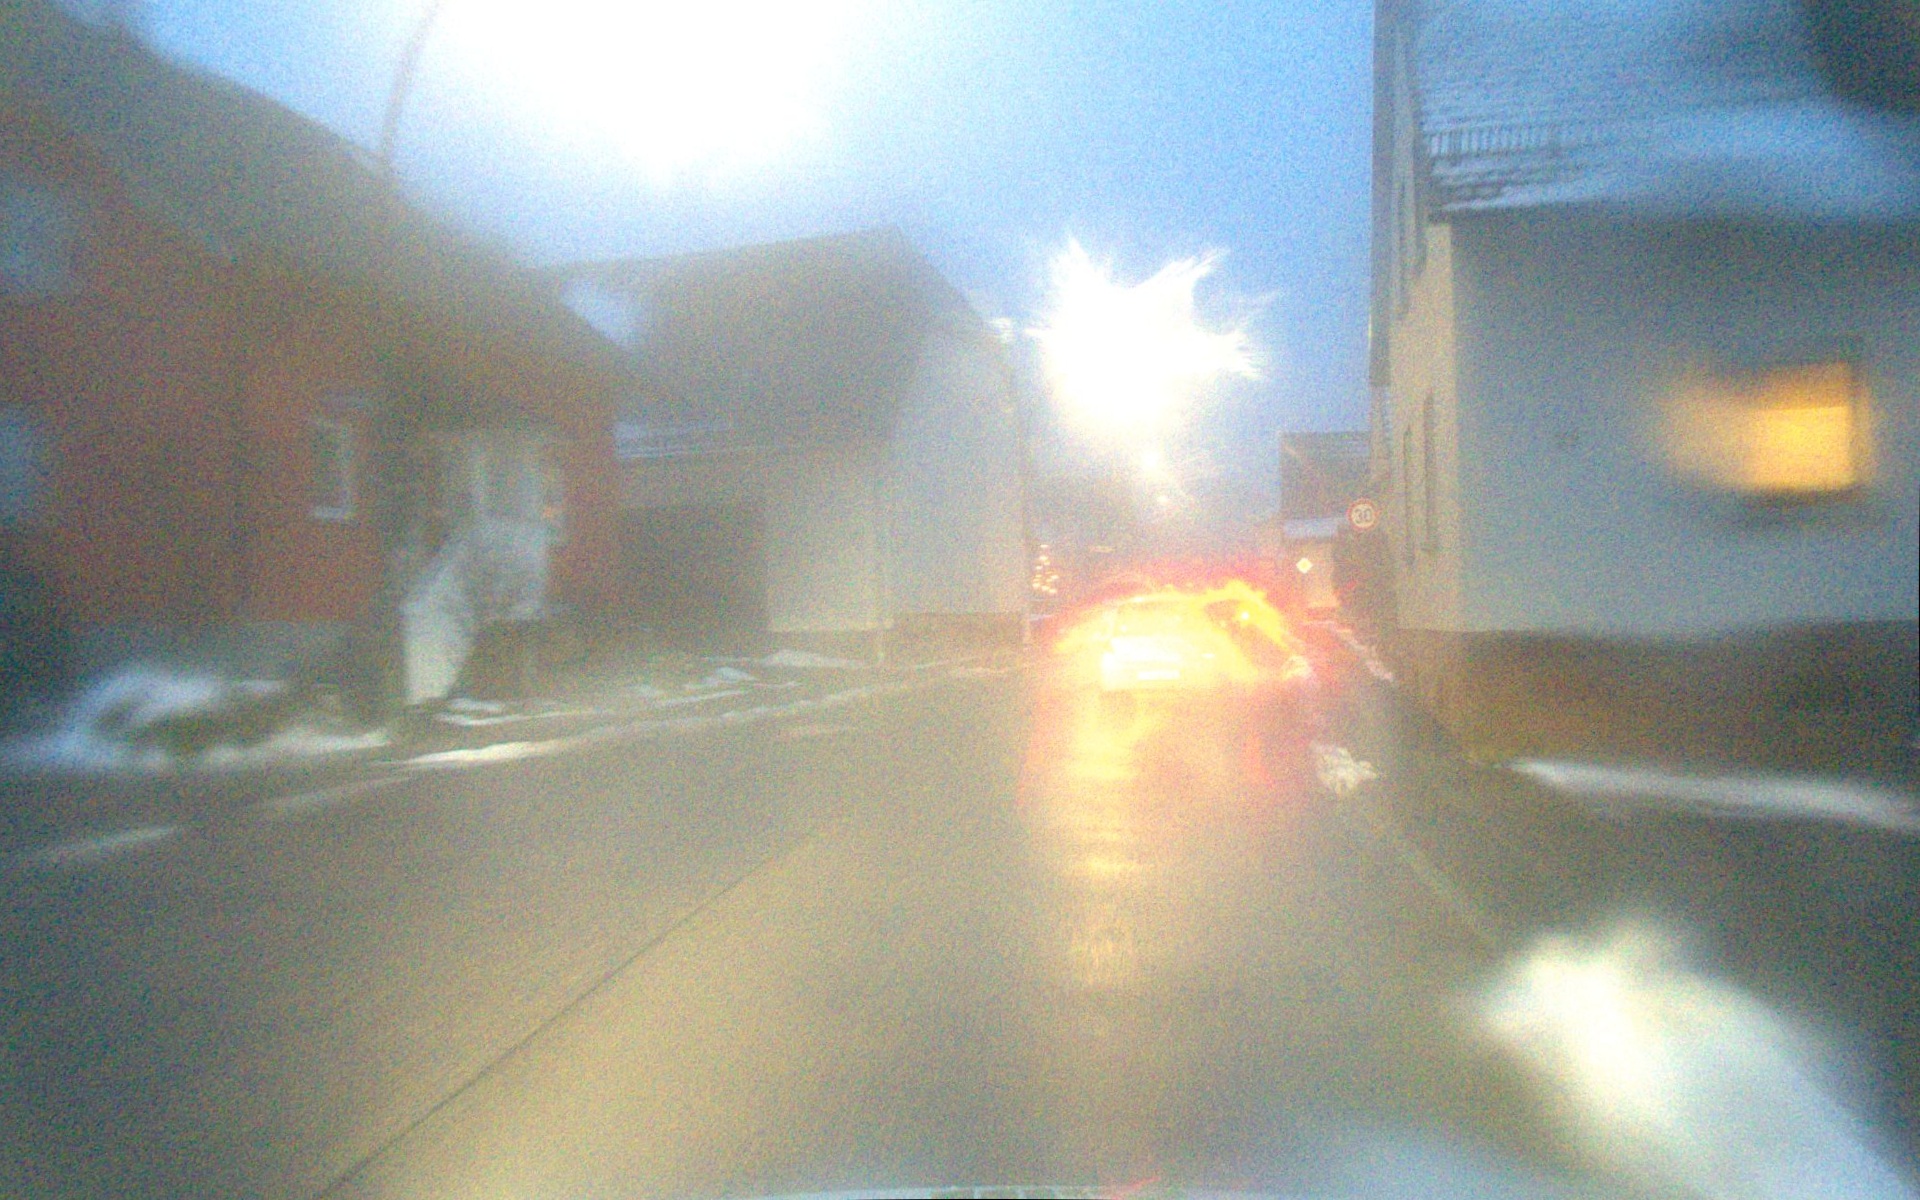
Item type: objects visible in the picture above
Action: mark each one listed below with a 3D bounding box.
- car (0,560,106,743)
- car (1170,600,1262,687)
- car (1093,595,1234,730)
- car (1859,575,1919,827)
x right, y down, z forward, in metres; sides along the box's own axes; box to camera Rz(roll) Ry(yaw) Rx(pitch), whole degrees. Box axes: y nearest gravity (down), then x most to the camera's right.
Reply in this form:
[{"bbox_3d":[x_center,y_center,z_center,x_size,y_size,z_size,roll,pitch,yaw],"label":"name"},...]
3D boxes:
[{"bbox_3d":[-9.173,0.437,14.675,1.841,1.530,3.987,1,-1,-13],"label":"car"},{"bbox_3d":[5.148,0.834,32.973,1.610,1.624,3.702,0,-1,12],"label":"car"},{"bbox_3d":[2.754,0.774,21.805,1.610,1.624,3.702,0,-1,11],"label":"car"},{"bbox_3d":[8.142,0.701,10.429,3.902,1.624,1.912,1,0,7],"label":"car"}]
